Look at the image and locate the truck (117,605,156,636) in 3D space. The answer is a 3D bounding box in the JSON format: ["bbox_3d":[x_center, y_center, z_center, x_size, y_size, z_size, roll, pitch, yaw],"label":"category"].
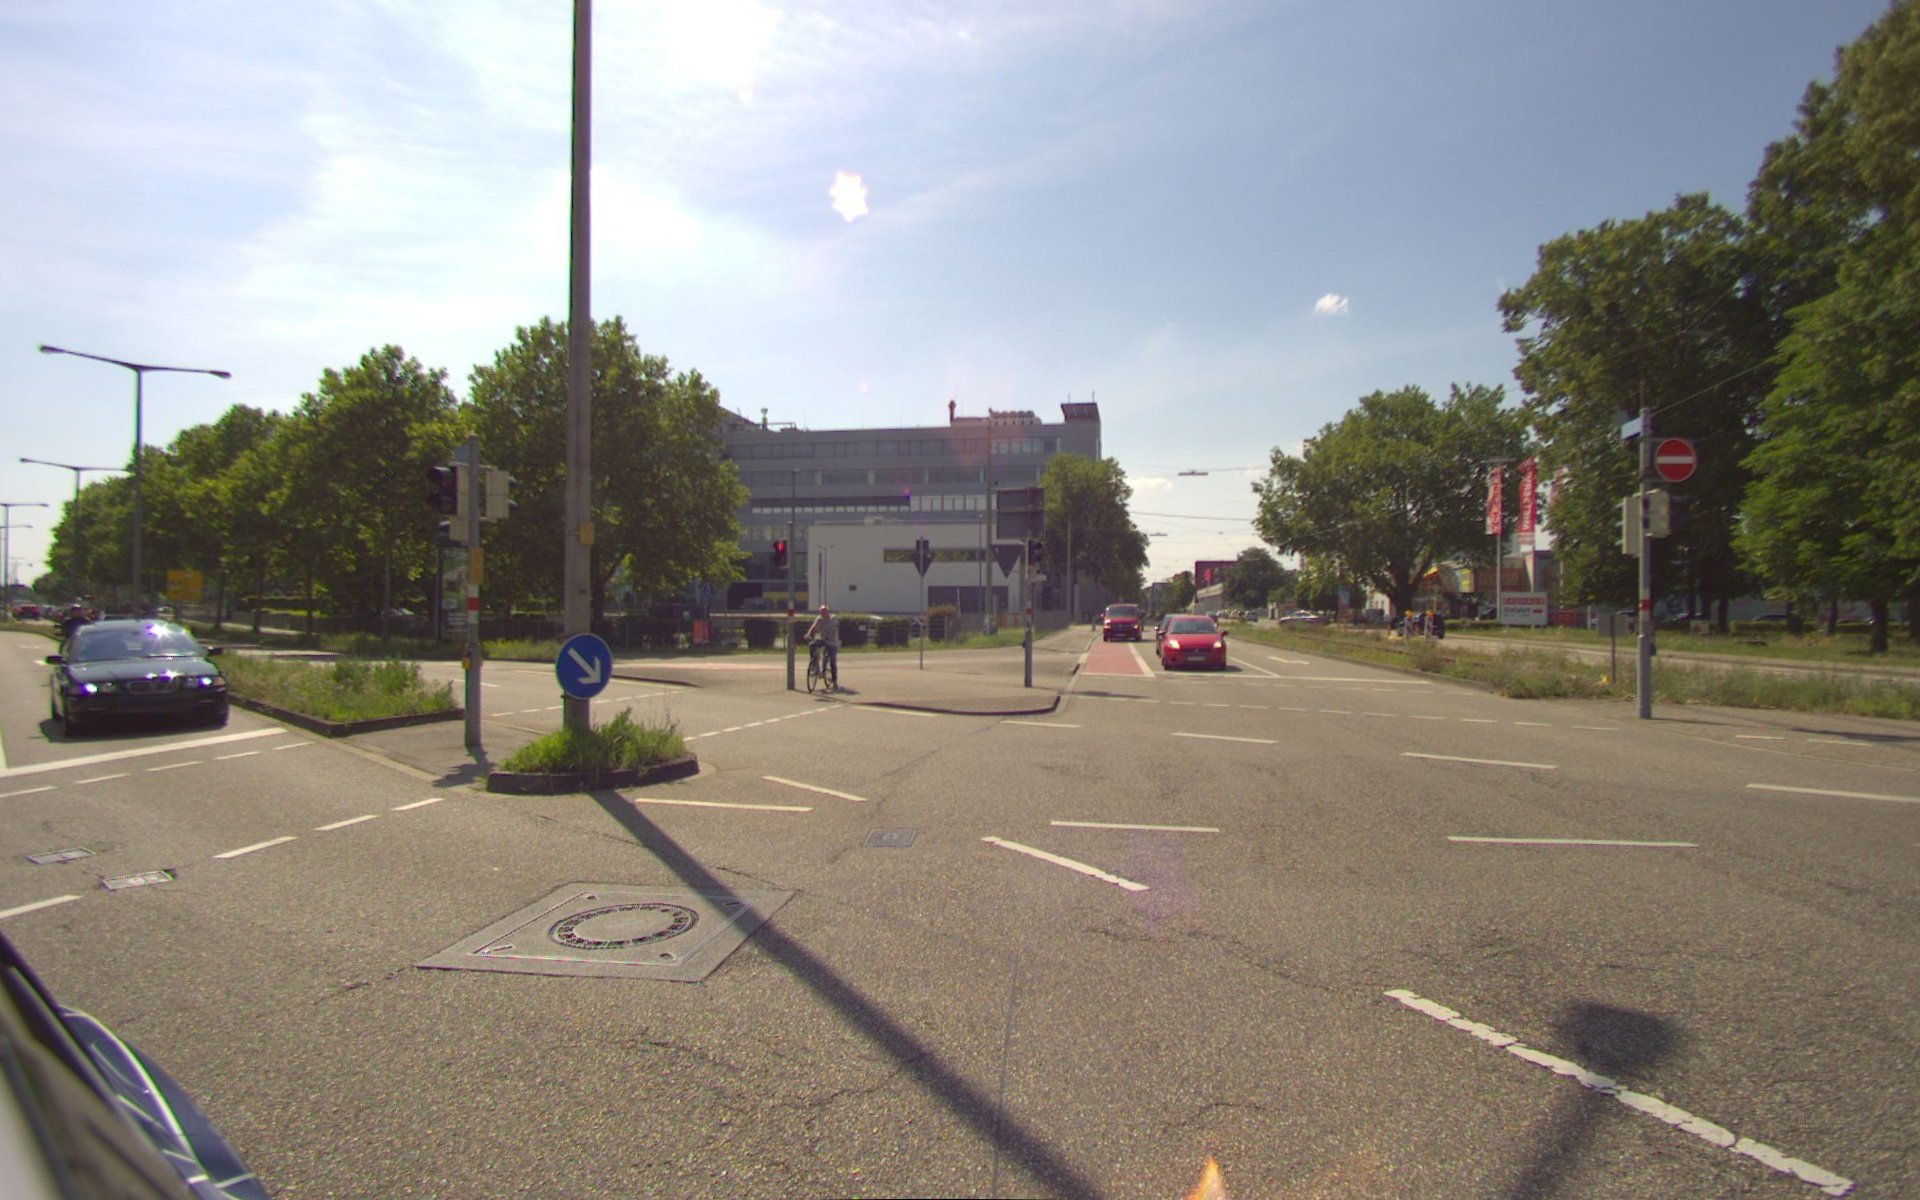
[{"bbox_3d":[-69.206,1.739,84.999,2.113,2.494,7.137,1,-1,-42],"label":"truck"}]

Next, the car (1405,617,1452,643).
[{"bbox_3d":[27.284,1.715,59.050,1.773,1.454,4.201,-1,-1,15],"label":"car"}]

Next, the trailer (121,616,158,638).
[{"bbox_3d":[-65.526,2.120,80.769,2.037,1.729,3.995,1,-1,-43],"label":"trailer"}]

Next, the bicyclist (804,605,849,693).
[{"bbox_3d":[-2.799,1.021,21.289,0.699,1.802,0.764,-1,-1,15],"label":"bicyclist"}]

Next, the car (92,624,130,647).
[{"bbox_3d":[-56.916,2.347,67.860,3.737,1.525,1.630,-1,-1,45],"label":"car"}]

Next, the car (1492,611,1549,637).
[{"bbox_3d":[45.463,1.942,82.163,3.982,2.029,1.981,-1,-1,29],"label":"car"}]

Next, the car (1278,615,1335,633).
[{"bbox_3d":[28.810,1.994,84.149,1.760,1.454,4.232,0,-1,-36],"label":"car"}]

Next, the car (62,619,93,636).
[{"bbox_3d":[-79.821,2.456,91.522,3.768,1.445,1.827,-1,-1,44],"label":"car"}]

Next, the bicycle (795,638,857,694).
[{"bbox_3d":[-2.787,1.354,21.282,0.521,1.072,2.155,-1,-1,15],"label":"bicycle"}]

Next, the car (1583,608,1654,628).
[{"bbox_3d":[52.835,1.421,81.319,4.338,1.576,1.867,-1,-1,13],"label":"car"}]

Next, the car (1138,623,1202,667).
[{"bbox_3d":[8.639,1.836,41.909,1.974,1.712,3.996,0,-1,3],"label":"car"}]

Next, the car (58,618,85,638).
[{"bbox_3d":[-95.020,2.978,108.219,1.971,2.029,4.002,1,-1,-45],"label":"car"}]

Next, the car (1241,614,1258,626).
[{"bbox_3d":[37.482,2.576,131.217,1.681,1.438,3.848,0,-1,10],"label":"car"}]

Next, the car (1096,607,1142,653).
[{"bbox_3d":[8.272,1.558,53.097,2.126,2.295,5.031,0,-1,6],"label":"car"}]

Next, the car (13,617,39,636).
[{"bbox_3d":[-104.744,2.945,113.443,1.971,2.029,4.002,1,-1,-45],"label":"car"}]

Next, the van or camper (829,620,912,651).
[{"bbox_3d":[-5.104,2.036,57.943,4.459,1.704,1.995,0,-1,7],"label":"van or camper"}]

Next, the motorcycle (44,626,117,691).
[{"bbox_3d":[-19.686,1.265,22.635,2.332,1.361,1.037,-1,-1,44],"label":"motorcycle"}]

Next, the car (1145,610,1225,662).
[{"bbox_3d":[7.734,1.210,35.149,1.973,1.712,3.997,0,-1,2],"label":"car"}]

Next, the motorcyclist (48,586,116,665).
[{"bbox_3d":[-19.690,0.556,22.691,1.042,1.712,1.051,-1,-1,44],"label":"motorcyclist"}]

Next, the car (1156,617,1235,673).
[{"bbox_3d":[6.551,1.223,28.511,1.826,1.460,3.989,0,-1,9],"label":"car"}]

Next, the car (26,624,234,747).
[{"bbox_3d":[-11.364,1.038,13.763,4.068,1.372,1.707,-1,0,44],"label":"car"}]
